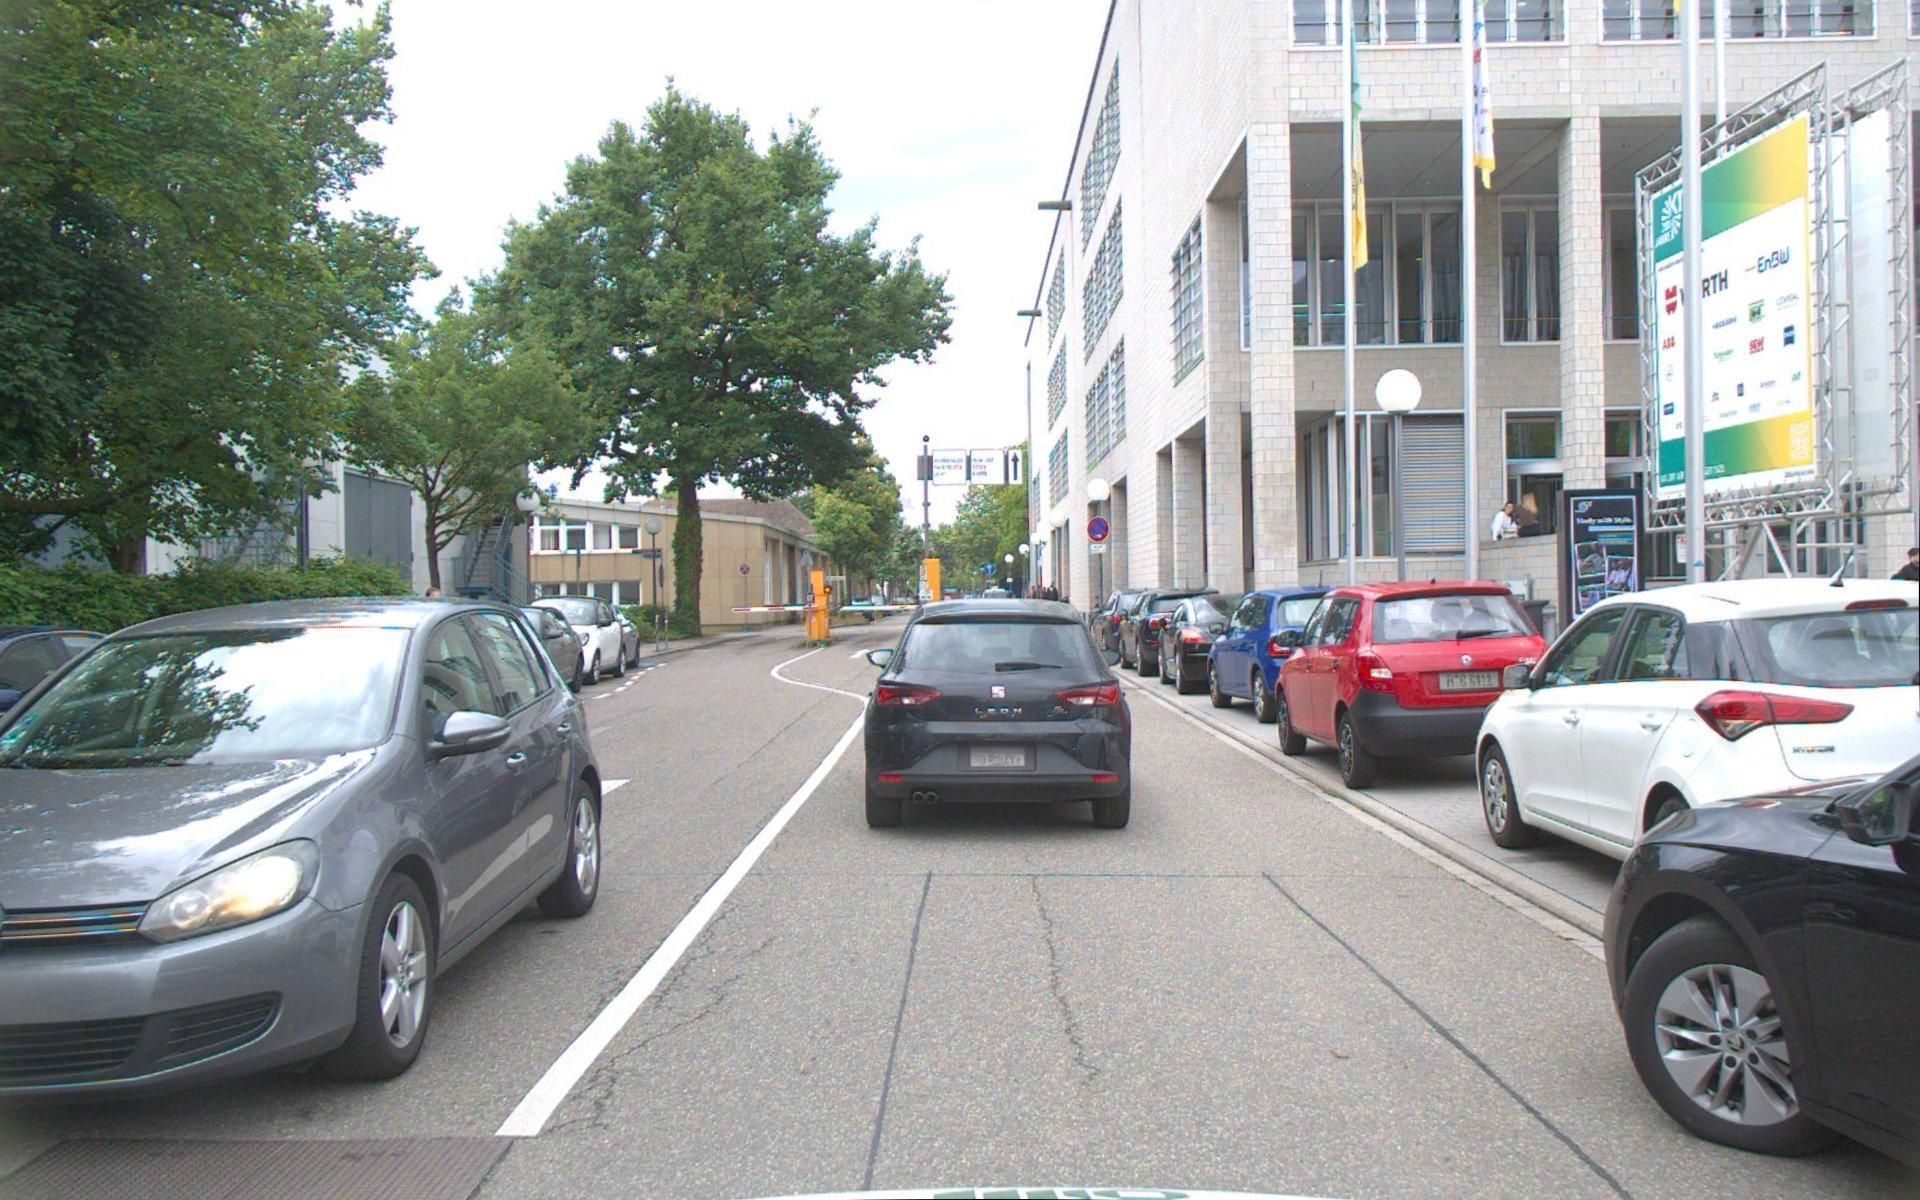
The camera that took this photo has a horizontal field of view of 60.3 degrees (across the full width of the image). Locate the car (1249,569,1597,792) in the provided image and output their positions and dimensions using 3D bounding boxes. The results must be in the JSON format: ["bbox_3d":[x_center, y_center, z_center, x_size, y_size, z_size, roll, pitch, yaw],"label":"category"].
[{"bbox_3d":[3.696,0.557,14.007,1.677,1.499,4.274,-3,1,0],"label":"car"}]

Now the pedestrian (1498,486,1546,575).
[{"bbox_3d":[10.816,-1.340,31.822,0.788,1.687,0.631,1,2,25],"label":"pedestrian"}]

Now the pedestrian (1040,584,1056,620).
[{"bbox_3d":[4.235,0.086,79.724,0.713,1.728,0.587,0,2,-5],"label":"pedestrian"}]

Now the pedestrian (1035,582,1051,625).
[{"bbox_3d":[3.406,0.135,68.035,0.598,1.744,0.575,-2,0,5],"label":"pedestrian"}]

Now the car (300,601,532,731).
[{"bbox_3d":[-6.963,0.784,21.578,1.726,1.497,3.824,-2,0,0],"label":"car"}]

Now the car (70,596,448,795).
[{"bbox_3d":[-6.659,0.809,16.324,1.761,1.588,4.530,-2,1,0],"label":"car"}]

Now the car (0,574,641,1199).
[{"bbox_3d":[-2.478,0.727,6.138,1.746,1.523,4.168,-2,0,0],"label":"car"}]

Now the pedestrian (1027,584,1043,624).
[{"bbox_3d":[3.241,0.169,71.405,0.681,1.744,0.489,-1,0,6],"label":"pedestrian"}]

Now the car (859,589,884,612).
[{"bbox_3d":[-6.670,0.029,124.906,1.734,1.629,4.000,-1,0,0],"label":"car"}]

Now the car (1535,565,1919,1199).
[{"bbox_3d":[3.126,0.634,3.131,1.827,1.426,4.467,-4,1,-10],"label":"car"}]

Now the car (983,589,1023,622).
[{"bbox_3d":[2.301,0.301,90.136,1.953,1.651,4.427,-2,0,-1],"label":"car"}]

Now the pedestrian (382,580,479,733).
[{"bbox_3d":[-6.090,0.627,19.065,0.723,1.690,0.968,-2,1,2],"label":"pedestrian"}]

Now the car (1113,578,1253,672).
[{"bbox_3d":[3.908,0.407,29.742,1.781,1.468,4.519,-3,0,-1],"label":"car"}]

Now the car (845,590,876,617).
[{"bbox_3d":[-6.127,0.207,102.117,1.734,1.629,3.999,-1,0,-1],"label":"car"}]

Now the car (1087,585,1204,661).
[{"bbox_3d":[3.900,0.470,35.578,1.953,1.477,4.922,-1,0,0],"label":"car"}]

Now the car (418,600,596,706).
[{"bbox_3d":[-6.963,0.765,25.823,1.727,1.436,4.007,-1,1,-1],"label":"car"}]

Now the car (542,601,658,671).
[{"bbox_3d":[-7.839,0.747,36.406,1.781,1.413,4.192,-1,0,-2],"label":"car"}]

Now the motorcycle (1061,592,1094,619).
[{"bbox_3d":[5.780,0.261,81.275,0.744,1.168,2.662,1,3,24],"label":"motorcycle"}]

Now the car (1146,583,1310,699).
[{"bbox_3d":[3.922,0.532,24.851,1.810,1.467,4.420,-1,2,1],"label":"car"}]

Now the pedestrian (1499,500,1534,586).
[{"bbox_3d":[11.014,-1.129,32.737,0.616,1.687,0.808,0,2,16],"label":"pedestrian"}]

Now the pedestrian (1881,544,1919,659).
[{"bbox_3d":[14.424,0.015,24.863,0.739,1.699,0.705,-1,-1,1],"label":"pedestrian"}]

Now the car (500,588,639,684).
[{"bbox_3d":[-7.199,0.614,30.842,1.681,1.613,3.877,-1,1,-1],"label":"car"}]

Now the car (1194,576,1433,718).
[{"bbox_3d":[4.050,0.506,19.672,1.661,1.436,4.374,-2,0,-3],"label":"car"}]

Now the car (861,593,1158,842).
[{"bbox_3d":[0.282,0.688,11.875,1.746,1.444,4.129,-1,0,0],"label":"car"}]

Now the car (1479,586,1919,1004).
[{"bbox_3d":[4.001,0.688,7.880,1.822,1.478,3.858,-1,0,0],"label":"car"}]

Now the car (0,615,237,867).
[{"bbox_3d":[-6.416,0.854,10.187,1.760,1.432,4.338,-2,0,4],"label":"car"}]
